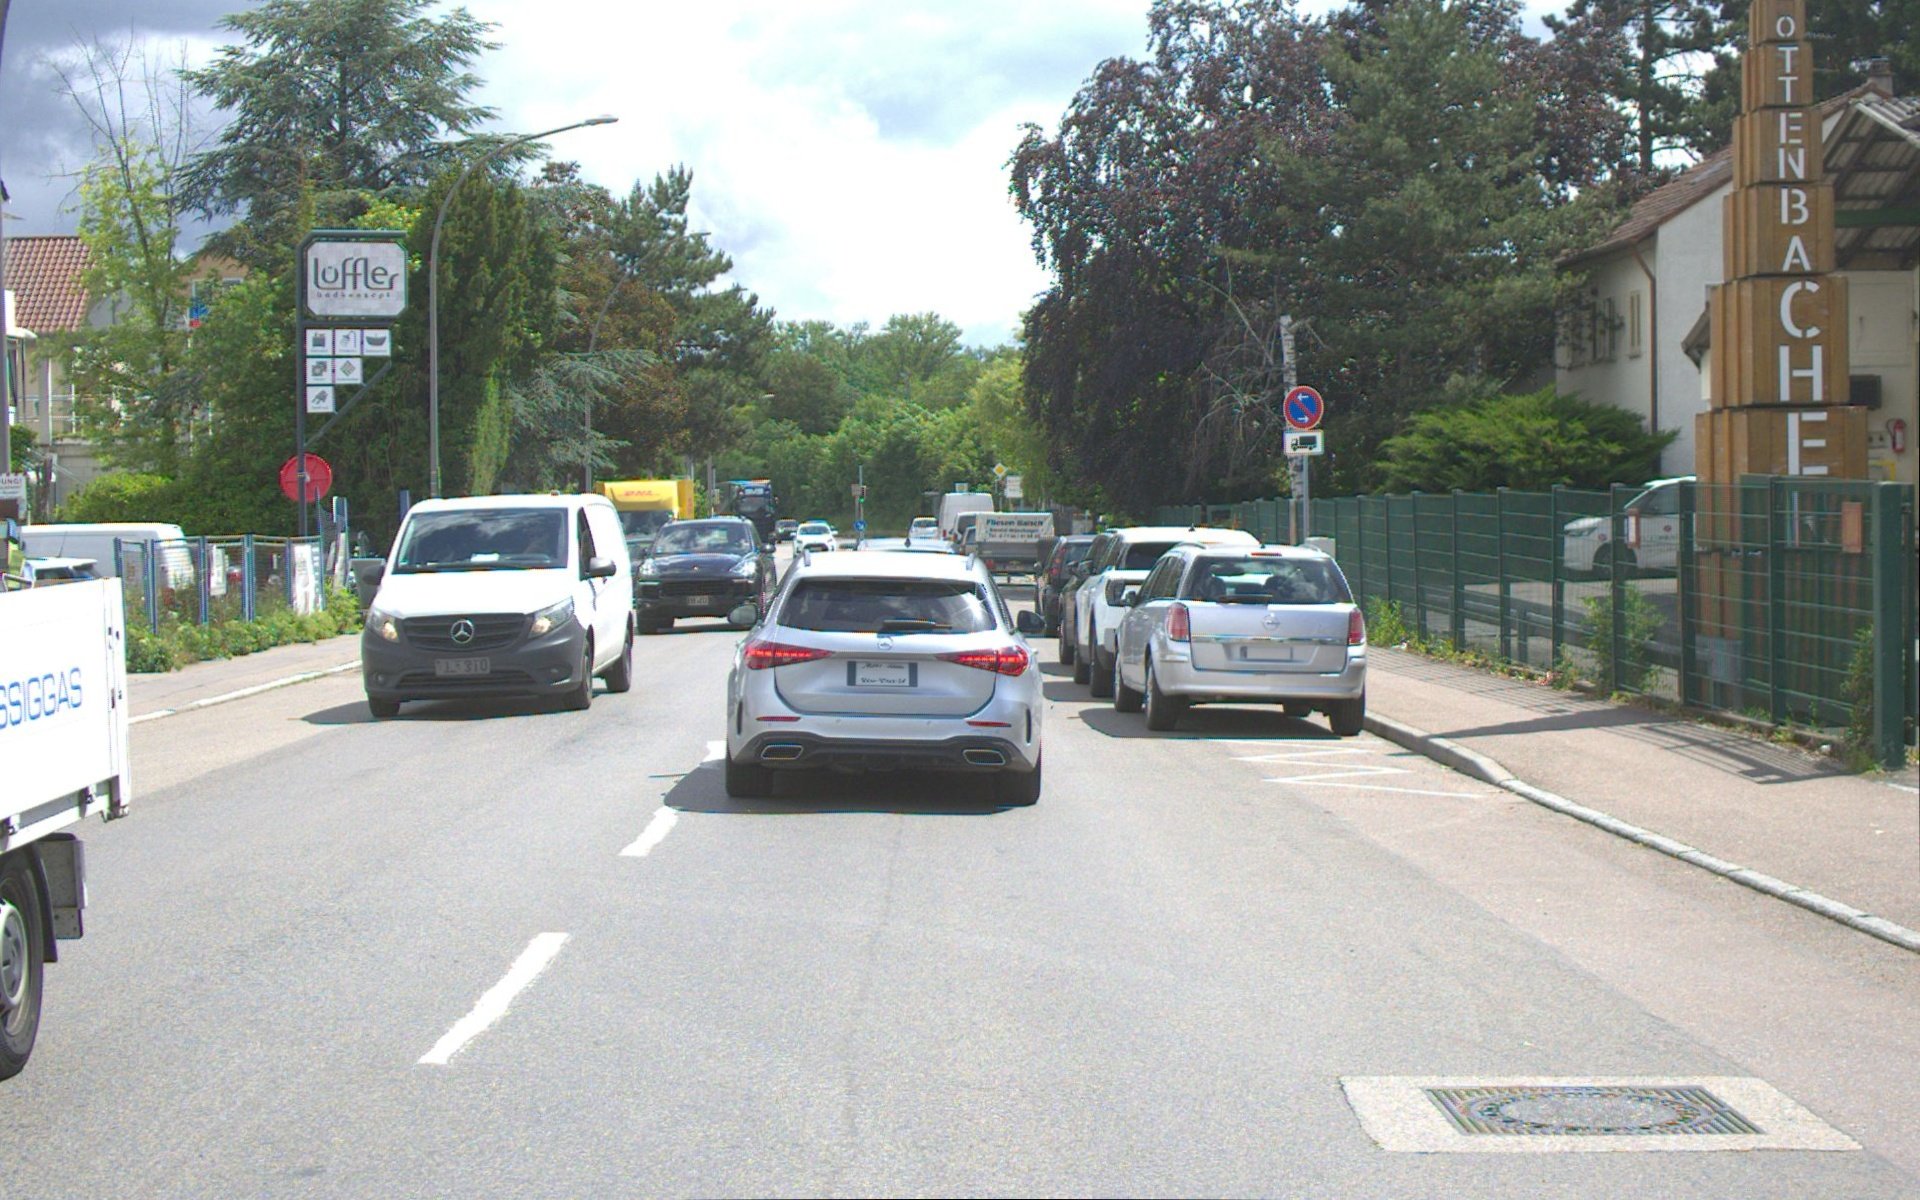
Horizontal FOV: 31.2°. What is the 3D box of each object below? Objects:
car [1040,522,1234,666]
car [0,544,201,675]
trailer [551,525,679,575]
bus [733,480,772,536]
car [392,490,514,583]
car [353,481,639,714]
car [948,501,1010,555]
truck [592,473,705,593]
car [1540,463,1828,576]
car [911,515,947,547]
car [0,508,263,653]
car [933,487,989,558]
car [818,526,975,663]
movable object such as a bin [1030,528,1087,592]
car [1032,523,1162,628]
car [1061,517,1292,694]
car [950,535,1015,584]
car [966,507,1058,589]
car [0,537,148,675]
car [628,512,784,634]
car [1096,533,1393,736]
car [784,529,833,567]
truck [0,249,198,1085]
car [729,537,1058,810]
[{"bbox_3d":[1.989,-0.116,39.689,1.689,1.546,4.087,-1,1,-5],"label":"car"},{"bbox_3d":[-11.936,0.150,43.424,4.279,1.561,1.991,-1,-2,-2],"label":"car"},{"bbox_3d":[-6.940,-1.035,69.745,2.228,0.921,5.949,0,2,-2],"label":"trailer"},{"bbox_3d":[-12.751,-5.664,211.221,1.993,3.352,6.984,1,2,-6],"label":"bus"},{"bbox_3d":[-9.531,-1.227,64.911,1.993,1.651,4.001,-1,2,-5],"label":"car"},{"bbox_3d":[-4.075,-0.095,30.995,1.993,1.882,5.118,-1,2,-2],"label":"car"},{"bbox_3d":[0.599,-2.326,112.238,1.784,1.709,4.317,0,1,-3],"label":"car"},{"bbox_3d":[-7.671,-1.698,85.262,2.075,2.804,7.078,-2,2,0],"label":"truck"},{"bbox_3d":[13.714,-1.536,65.324,5.017,1.922,2.000,-2,1,2],"label":"car"},{"bbox_3d":[-1.574,-3.503,174.501,1.755,1.553,4.001,0,2,-2],"label":"car"},{"bbox_3d":[-11.728,-0.235,46.373,4.279,1.830,1.991,-1,-2,-2],"label":"car"},{"bbox_3d":[0.008,-2.788,124.571,1.784,2.510,4.317,0,1,-3],"label":"car"},{"bbox_3d":[-0.814,-0.108,41.743,1.755,1.553,4.001,0,2,-3],"label":"car"},{"bbox_3d":[2.044,-0.840,71.571,1.084,1.266,1.380,1,2,-1],"label":"movable object such as a bin"},{"bbox_3d":[1.971,-0.388,50.430,1.689,1.445,3.849,-1,1,-1],"label":"car"},{"bbox_3d":[2.043,-0.005,33.657,1.791,1.546,4.574,-2,2,-2],"label":"car"},{"bbox_3d":[0.695,-1.273,107.970,1.784,1.479,4.317,0,1,-3],"label":"car"},{"bbox_3d":[1.276,-1.334,86.978,2.144,1.977,5.261,-1,1,-1],"label":"car"},{"bbox_3d":[-12.076,0.114,41.062,4.279,1.561,1.991,-1,-2,0],"label":"car"},{"bbox_3d":[-3.854,-0.460,52.824,1.993,1.727,4.549,-2,2,0],"label":"car"},{"bbox_3d":[2.236,0.214,28.146,1.791,1.445,4.364,-2,2,-3],"label":"car"},{"bbox_3d":[-6.404,-2.226,145.571,1.934,1.487,4.364,-2,2,-1],"label":"car"},{"bbox_3d":[-3.680,0.226,7.798,2.319,2.171,6.449,-2,2,1],"label":"truck"},{"bbox_3d":[-0.472,0.374,20.933,1.784,1.479,4.317,0,1,-3],"label":"car"}]
